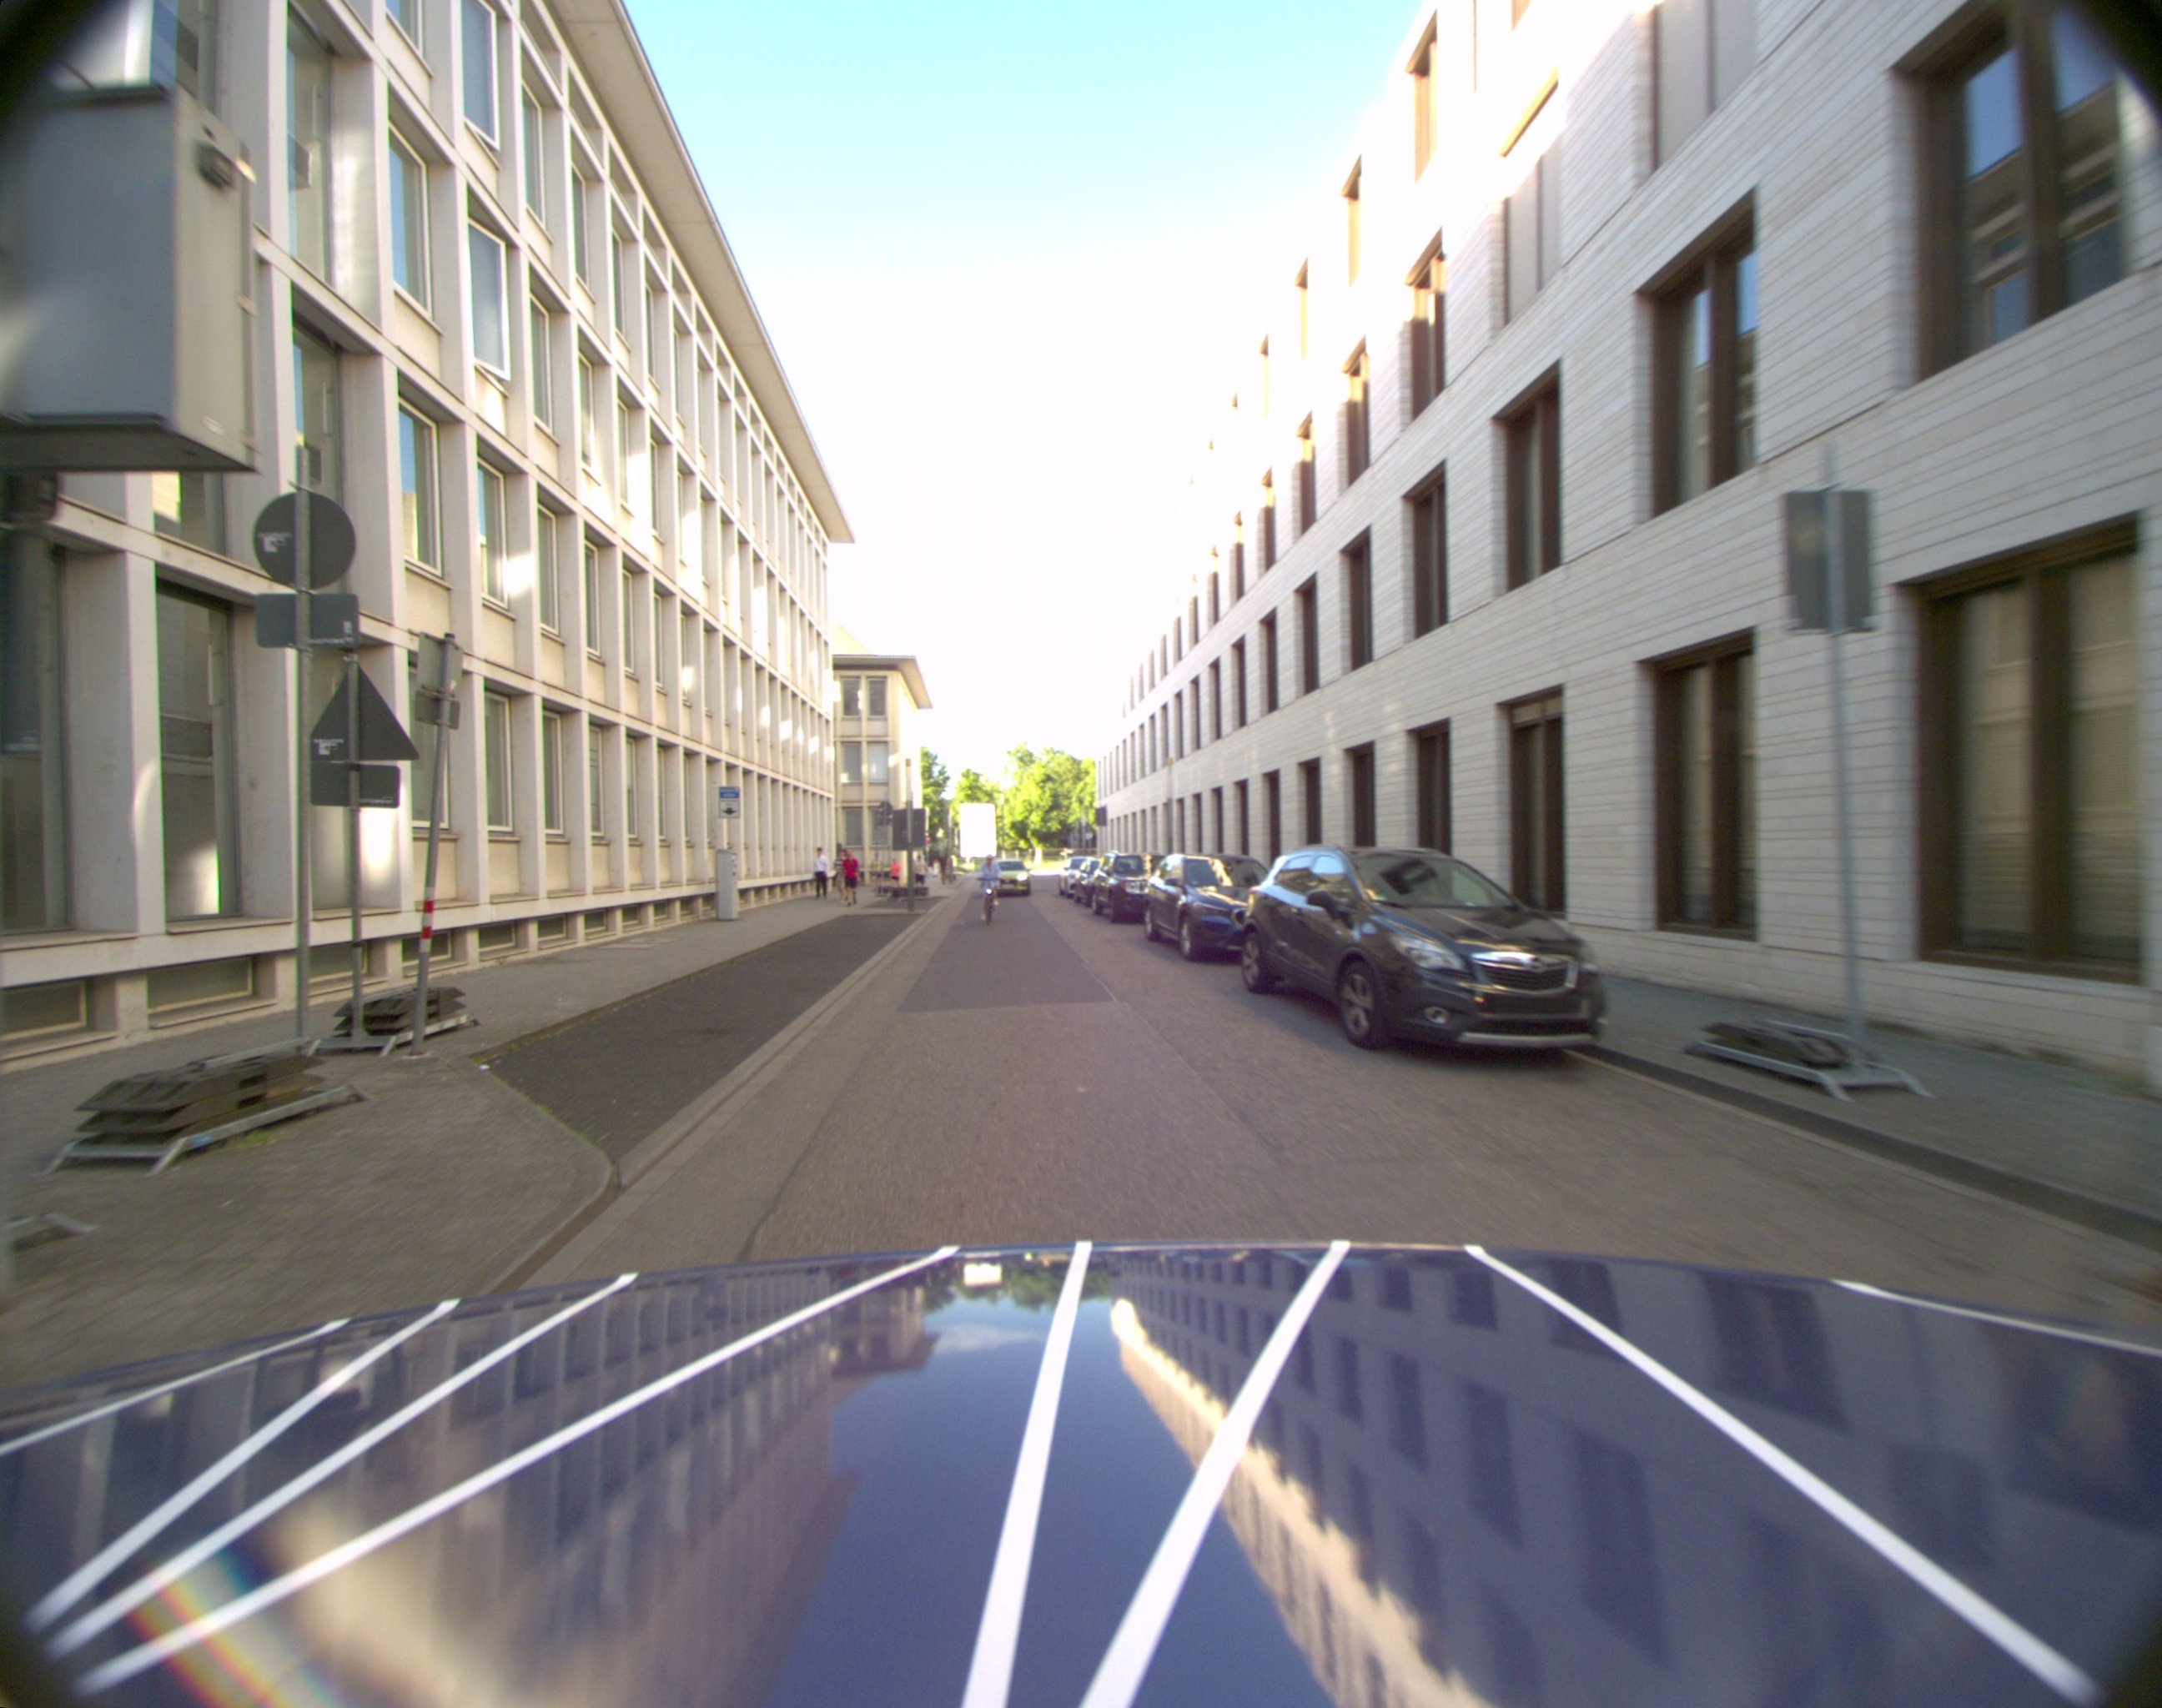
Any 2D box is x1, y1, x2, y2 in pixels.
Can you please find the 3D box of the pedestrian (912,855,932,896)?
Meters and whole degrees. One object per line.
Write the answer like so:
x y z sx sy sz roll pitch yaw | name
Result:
-6.797 0.899 32.487 0.685 1.705 0.693 3 0 -5 | pedestrian

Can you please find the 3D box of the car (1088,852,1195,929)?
1.387 0.836 19.047 1.828 1.704 4.015 1 0 -8 | car

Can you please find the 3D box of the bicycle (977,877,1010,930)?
-2.159 1.160 18.519 0.596 1.077 2.308 -2 1 -10 | bicycle

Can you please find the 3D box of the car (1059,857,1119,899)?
0.235 0.886 30.056 1.828 1.532 4.444 0 0 -6 | car

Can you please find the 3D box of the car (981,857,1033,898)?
-3.232 0.950 32.462 2.000 1.451 4.432 -2 1 -8 | car

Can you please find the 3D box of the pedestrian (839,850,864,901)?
-8.095 0.735 26.806 0.685 1.768 0.693 1 1 -5 | pedestrian

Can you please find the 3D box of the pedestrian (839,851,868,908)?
-7.137 0.789 23.863 0.685 1.768 0.593 2 0 -5 | pedestrian

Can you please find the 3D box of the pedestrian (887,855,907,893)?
-8.082 0.864 33.424 0.685 1.627 0.693 2 0 -5 | pedestrian

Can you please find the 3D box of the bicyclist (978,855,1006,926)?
-2.172 0.884 18.569 0.586 1.679 0.537 -2 2 -10 | bicyclist

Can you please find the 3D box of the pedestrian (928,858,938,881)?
-10.717 1.102 54.922 0.627 1.633 0.622 -2 2 -12 | pedestrian

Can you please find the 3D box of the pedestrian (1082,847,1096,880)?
0.445 0.531 42.215 0.645 1.780 0.816 -2 2 -6 | pedestrian

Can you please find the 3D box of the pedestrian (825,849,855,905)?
-7.971 0.759 25.185 0.685 1.768 0.693 4 0 -5 | pedestrian

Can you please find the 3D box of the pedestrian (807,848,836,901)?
-9.071 0.714 26.550 0.685 1.768 0.693 4 0 -5 | pedestrian

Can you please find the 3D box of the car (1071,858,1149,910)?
0.859 0.928 25.387 1.828 1.532 4.260 -1 0 -8 | car

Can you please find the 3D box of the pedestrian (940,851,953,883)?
-7.573 0.718 42.698 0.643 1.779 0.575 1 1 -6 | pedestrian

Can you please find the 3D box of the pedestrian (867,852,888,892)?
-8.918 0.771 33.349 0.685 1.705 0.693 3 0 -5 | pedestrian

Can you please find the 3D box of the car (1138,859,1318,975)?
2.192 0.889 12.547 1.745 1.585 4.151 1 0 -6 | car

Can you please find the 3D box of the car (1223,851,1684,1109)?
2.895 0.835 7.138 1.828 1.668 4.261 1 0 -7 | car
